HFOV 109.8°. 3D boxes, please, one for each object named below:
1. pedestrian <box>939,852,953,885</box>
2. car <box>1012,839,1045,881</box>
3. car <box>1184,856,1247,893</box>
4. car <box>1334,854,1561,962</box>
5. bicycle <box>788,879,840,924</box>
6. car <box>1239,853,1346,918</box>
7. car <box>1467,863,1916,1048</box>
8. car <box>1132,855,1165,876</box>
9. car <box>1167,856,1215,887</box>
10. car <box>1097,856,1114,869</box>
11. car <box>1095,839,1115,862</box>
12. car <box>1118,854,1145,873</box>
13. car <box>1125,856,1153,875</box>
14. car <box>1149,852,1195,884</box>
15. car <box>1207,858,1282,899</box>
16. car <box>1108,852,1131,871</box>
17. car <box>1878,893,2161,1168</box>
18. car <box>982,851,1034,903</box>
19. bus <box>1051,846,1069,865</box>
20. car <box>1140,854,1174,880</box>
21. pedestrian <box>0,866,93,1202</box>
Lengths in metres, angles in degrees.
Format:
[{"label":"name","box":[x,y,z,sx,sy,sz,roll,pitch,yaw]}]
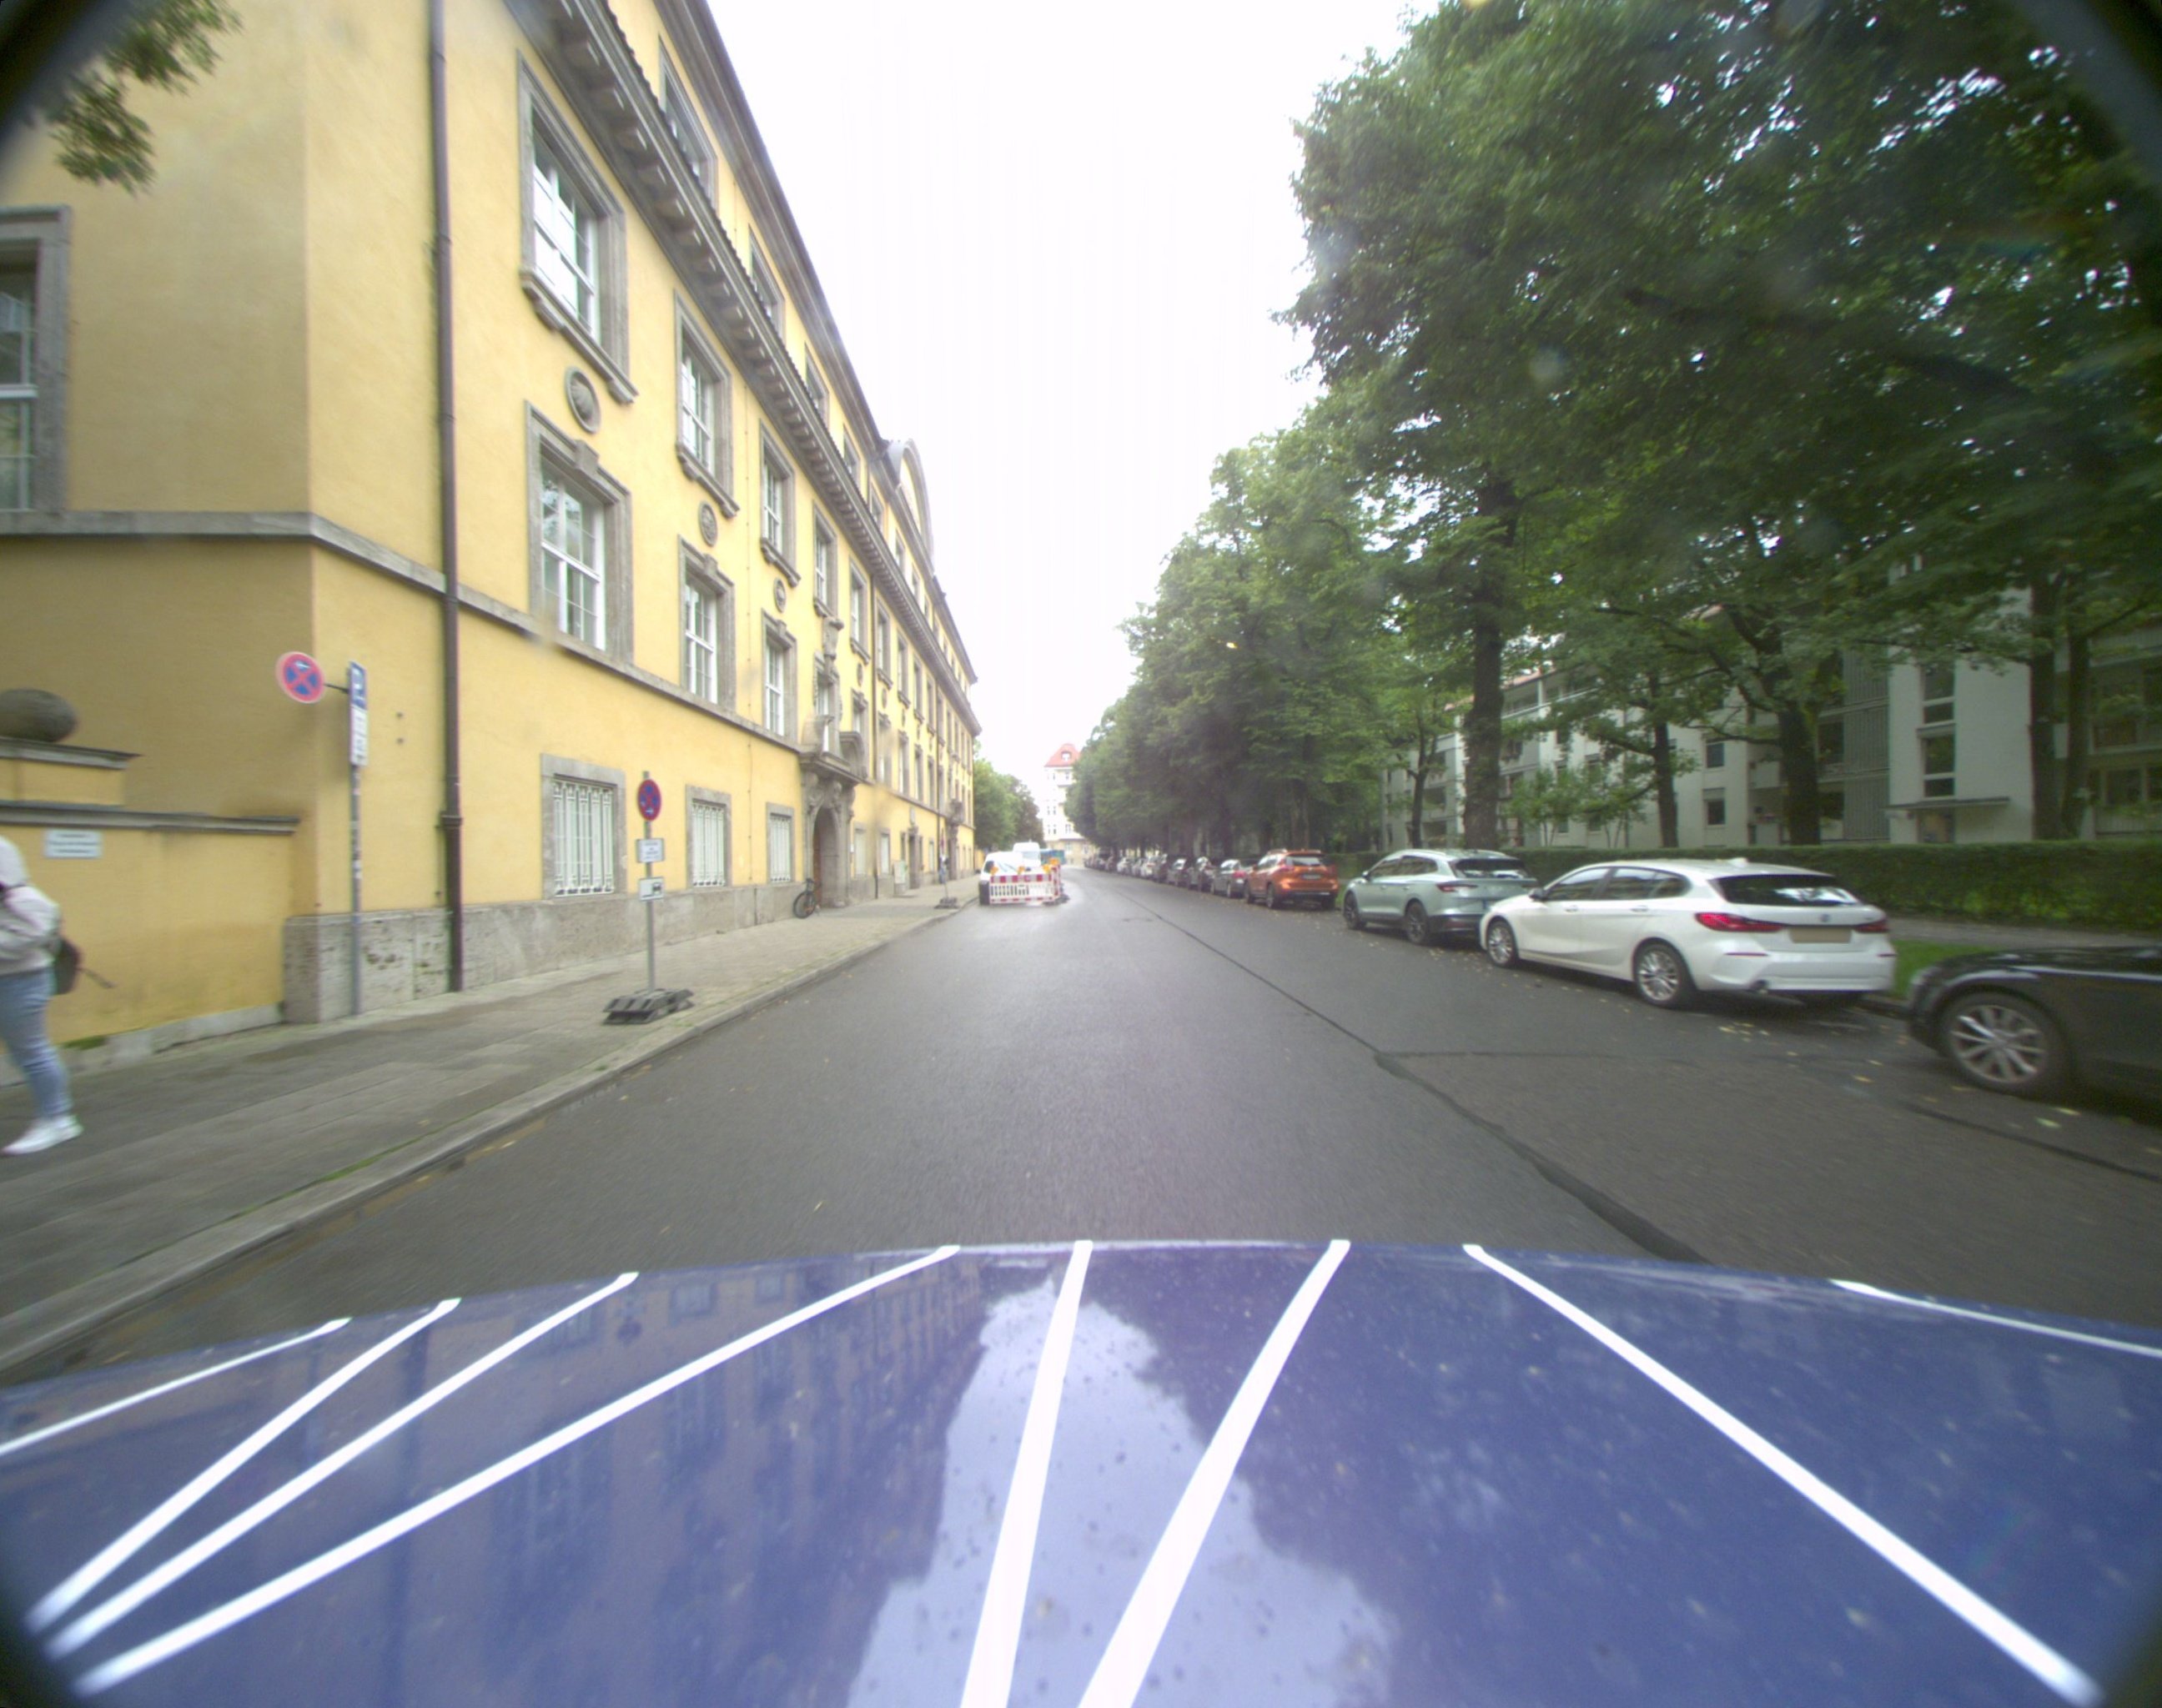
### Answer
[{"label":"pedestrian","box":[-7.459,0.776,42.035,0.702,1.794,0.582,1,1,-3]},{"label":"car","box":[-3.653,0.375,52.771,2.060,2.657,7.610,-1,0,-4]},{"label":"car","box":[5.947,0.868,34.066,1.791,1.565,4.485,1,0,-3]},{"label":"car","box":[6.342,0.821,13.832,1.820,1.592,4.512,-1,0,-2]},{"label":"bicycle","box":[-6.912,1.208,19.748,0.682,1.000,2.056,-1,1,-2]},{"label":"car","box":[6.260,0.857,23.026,1.877,1.718,4.640,-1,0,-1]},{"label":"car","box":[6.281,0.885,8.572,1.582,1.488,4.198,-1,0,-2]},{"label":"car","box":[5.074,0.818,57.627,1.814,1.461,4.995,-1,0,-3]},{"label":"car","box":[5.681,0.861,39.772,1.723,1.442,4.694,-1,0,-1]},{"label":"car","box":[2.807,0.946,86.822,1.794,1.429,4.551,-1,-1,0]},{"label":"car","box":[3.041,-0.469,99.226,1.950,2.838,6.232,-1,1,-4]},{"label":"car","box":[4.457,0.833,67.959,1.789,1.588,4.582,-1,0,-4]},{"label":"car","box":[4.799,0.918,63.195,1.677,1.461,4.102,-1,0,-4]},{"label":"car","box":[5.339,0.765,45.168,1.999,1.786,4.919,1,0,-1]},{"label":"car","box":[6.153,0.861,29.005,1.732,1.414,4.250,-1,0,-3]},{"label":"car","box":[3.878,0.781,77.385,1.789,1.866,4.546,1,0,-4]},{"label":"car","box":[6.415,0.962,3.343,1.581,1.335,4.044,-1,0,0]},{"label":"car","box":[-2.643,0.789,28.464,1.744,1.740,4.354,-1,1,-3]},{"label":"bus","box":[-4.059,0.145,143.507,2.867,3.220,18.416,-1,1,-3]},{"label":"car","box":[5.186,0.845,52.061,1.770,1.612,4.522,2,0,-1]},{"label":"pedestrian","box":[-5.551,0.881,3.764,0.561,1.628,0.571,1,1,-2]}]
